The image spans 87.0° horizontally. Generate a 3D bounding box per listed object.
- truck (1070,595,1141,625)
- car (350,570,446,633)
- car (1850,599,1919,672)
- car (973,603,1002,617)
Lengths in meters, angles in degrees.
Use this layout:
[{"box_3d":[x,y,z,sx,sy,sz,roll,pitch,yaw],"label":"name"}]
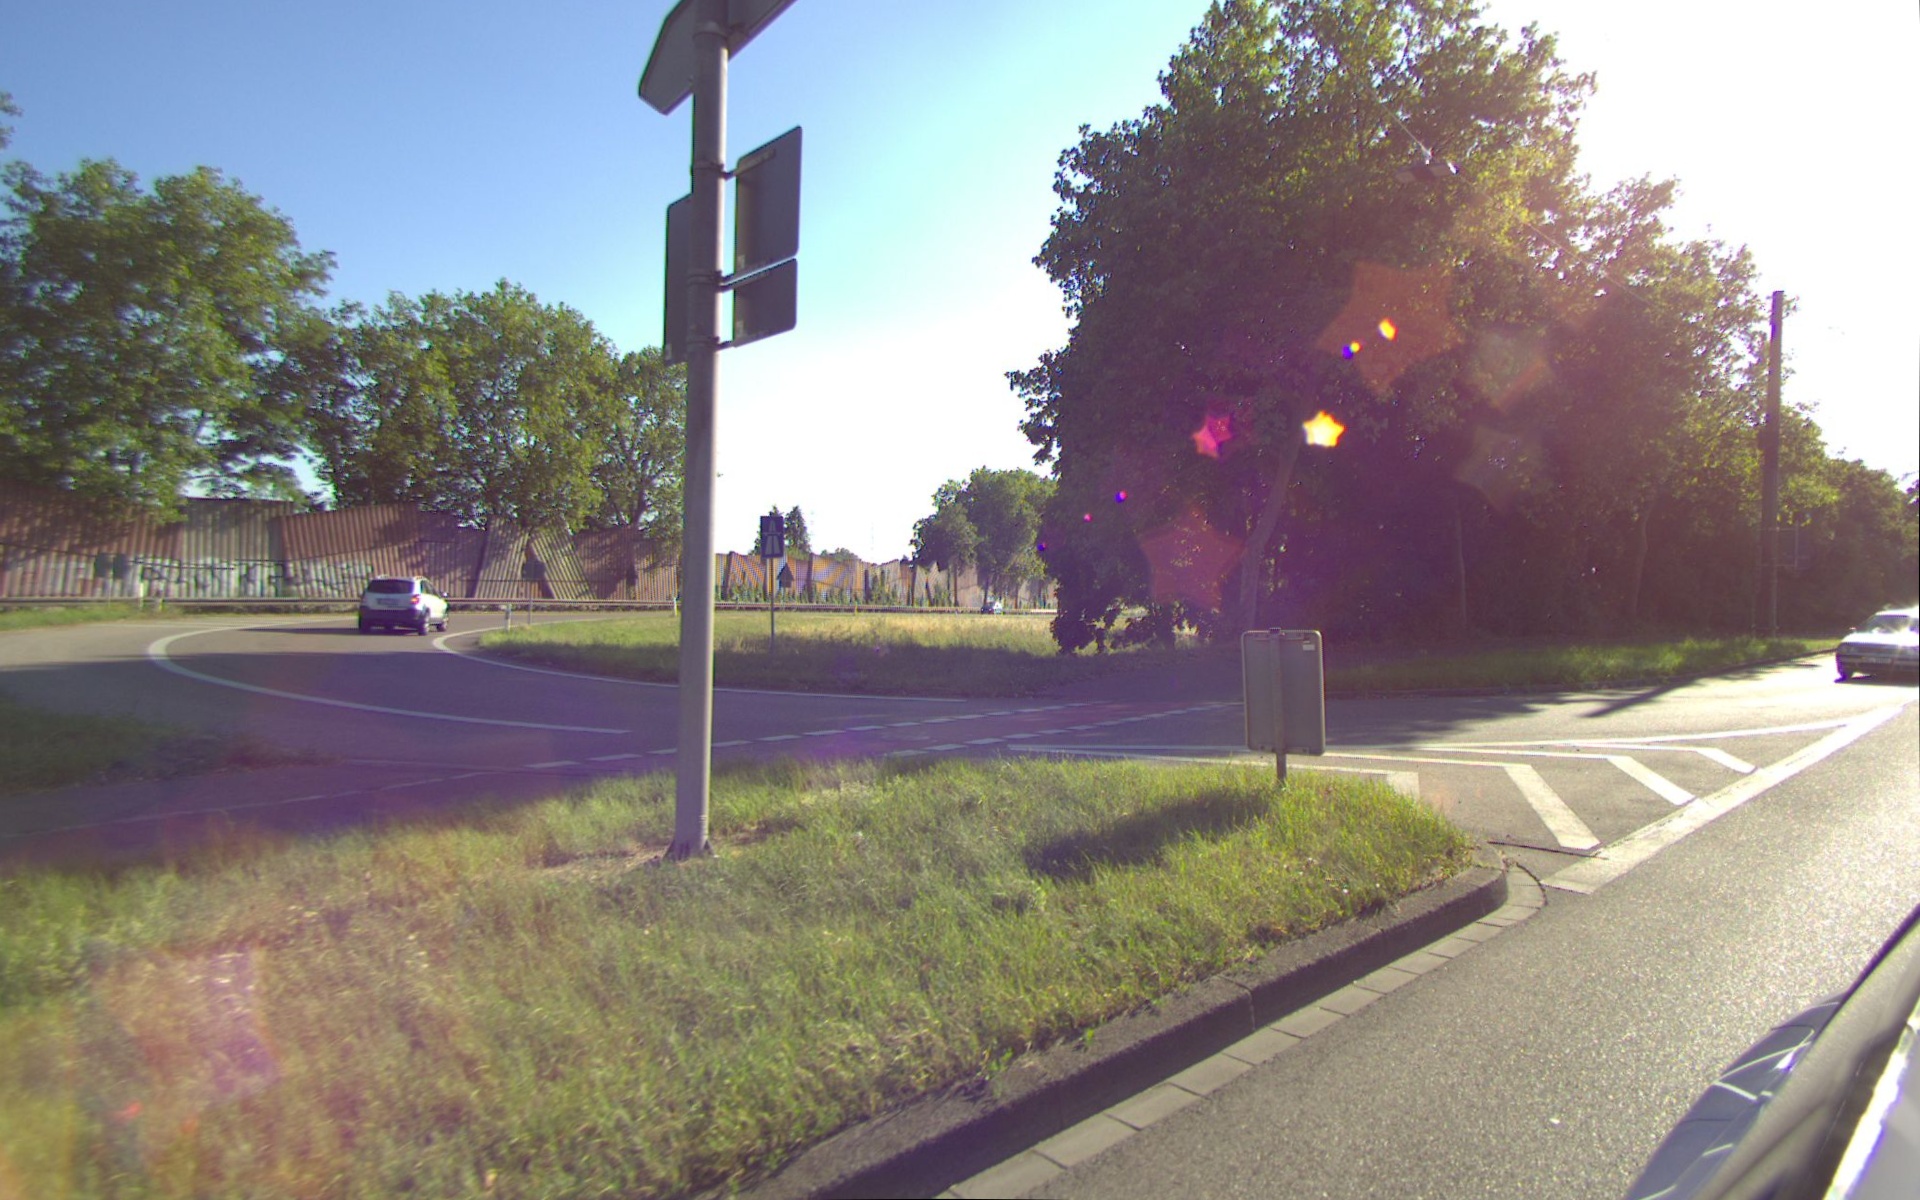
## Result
[{"box_3d":[22.556,1.466,157.250,10.484,3.537,2.634,6,3,21],"label":"truck"},{"box_3d":[-17.142,0.013,31.046,1.776,1.795,3.871,0,1,-17],"label":"car"},{"box_3d":[20.515,0.702,21.422,4.057,1.435,1.694,0,1,-36],"label":"car"},{"box_3d":[3.091,1.094,113.361,1.778,1.458,4.191,0,1,23],"label":"car"}]
